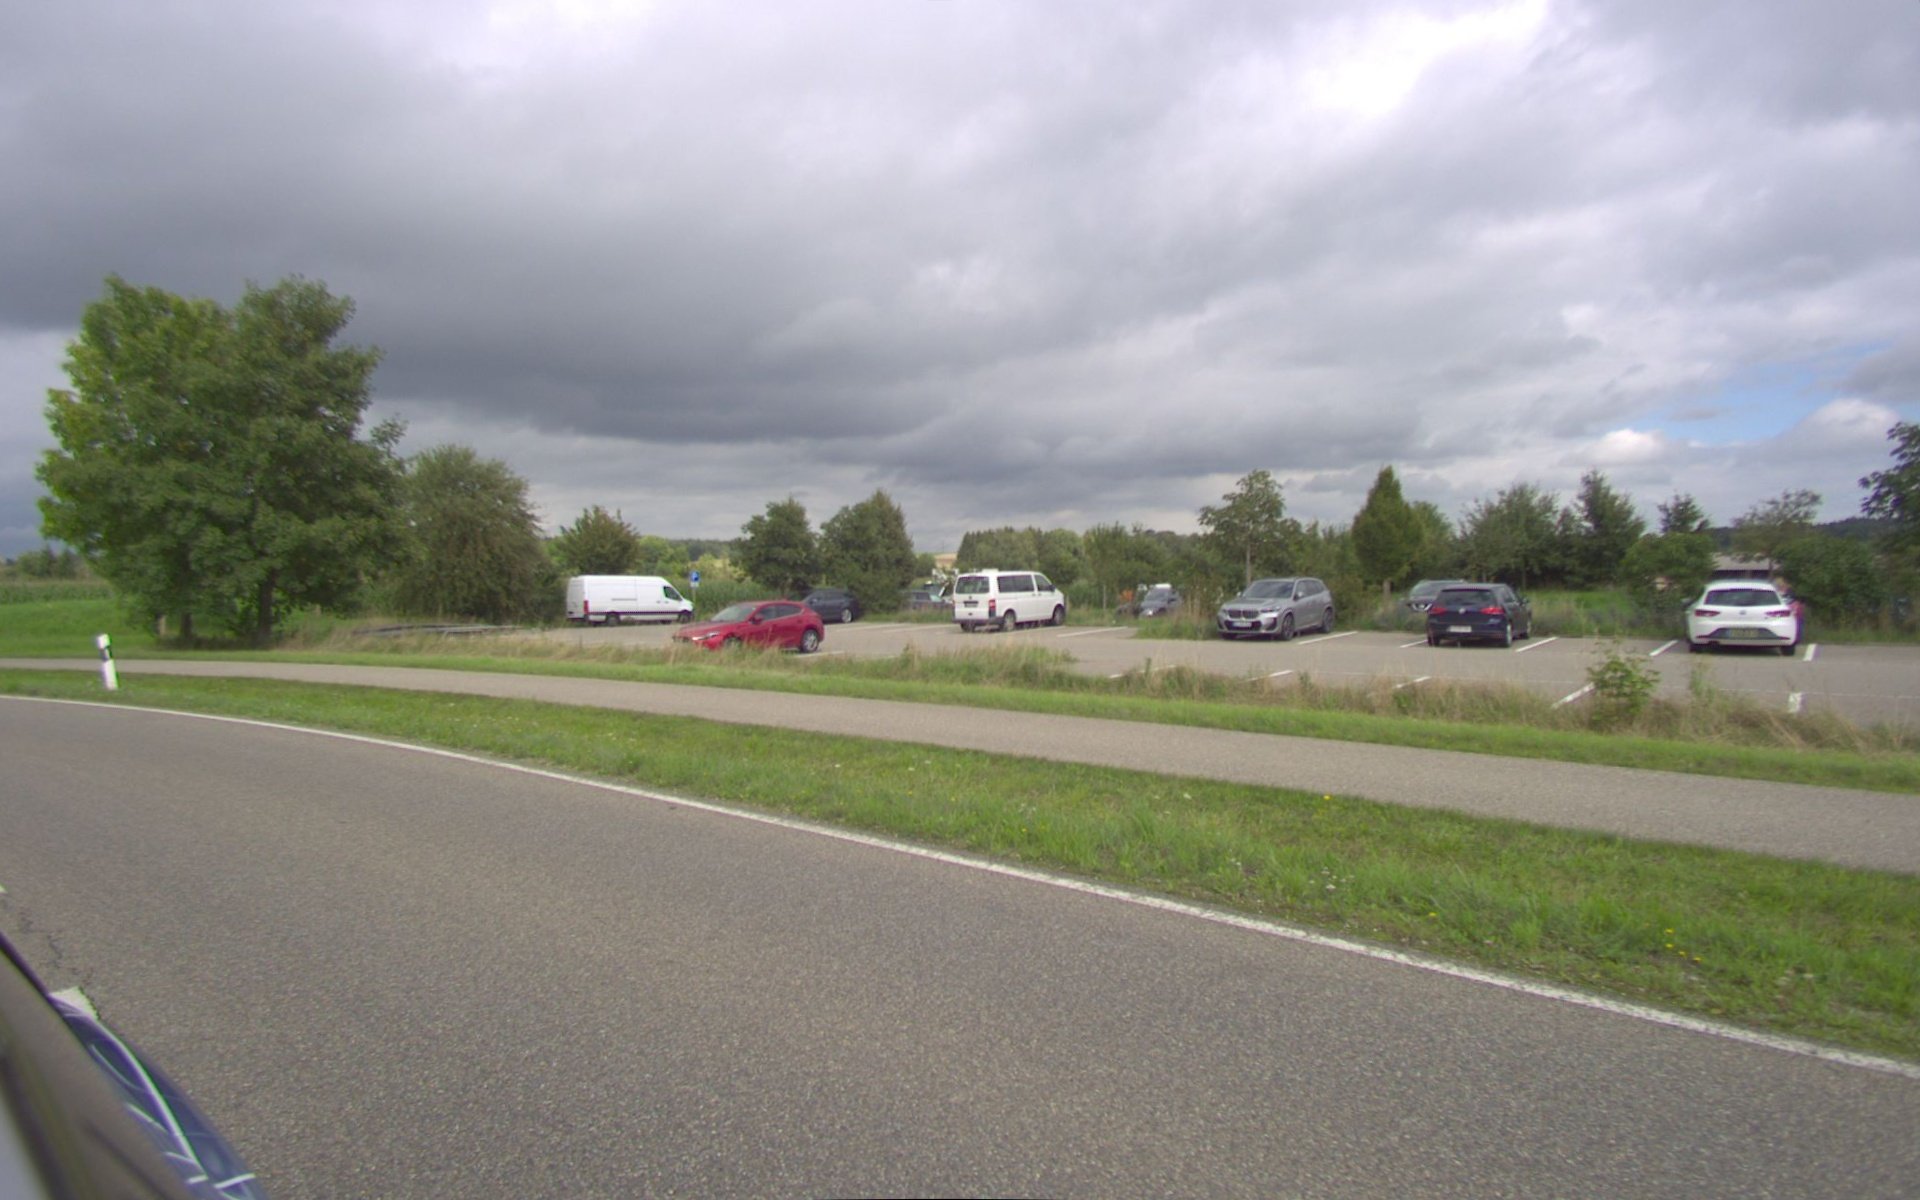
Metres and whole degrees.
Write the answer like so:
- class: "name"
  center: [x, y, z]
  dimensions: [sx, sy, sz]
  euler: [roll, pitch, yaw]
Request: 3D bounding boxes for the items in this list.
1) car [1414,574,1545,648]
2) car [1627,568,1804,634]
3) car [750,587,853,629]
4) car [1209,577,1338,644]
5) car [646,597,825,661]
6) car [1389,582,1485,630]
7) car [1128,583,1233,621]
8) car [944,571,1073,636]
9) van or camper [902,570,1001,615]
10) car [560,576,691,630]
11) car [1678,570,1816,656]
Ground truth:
- class: "car"
  center: [12.593, 0.212, 24.427]
  dimensions: [1.964, 1.563, 3.947]
  euler: [-1, 2, 40]
- class: "car"
  center: [19.201, 0.002, 25.753]
  dimensions: [3.729, 1.537, 1.782]
  euler: [-2, 1, -18]
- class: "car"
  center: [-6.385, 0.305, 41.030]
  dimensions: [1.792, 1.536, 3.949]
  euler: [-1, 1, 38]
- class: "car"
  center: [8.590, 0.233, 27.539]
  dimensions: [1.964, 1.563, 3.947]
  euler: [-1, 2, 40]
- class: "car"
  center: [-5.719, 0.698, 26.232]
  dimensions: [1.812, 1.427, 4.320]
  euler: [-1, 1, 40]
- class: "car"
  center: [14.421, 0.153, 30.507]
  dimensions: [1.775, 1.349, 3.745]
  euler: [-1, 1, 39]
- class: "car"
  center: [10.098, 0.092, 46.596]
  dimensions: [1.968, 1.635, 4.459]
  euler: [-2, 1, -39]
- class: "car"
  center: [1.735, 0.059, 34.537]
  dimensions: [2.059, 1.940, 4.636]
  euler: [-1, 2, 39]
- class: "van or camper"
  center: [-0.405, -0.463, 59.036]
  dimensions: [2.286, 2.364, 5.965]
  euler: [0, 2, 43]
- class: "car"
  center: [-17.400, 0.093, 52.989]
  dimensions: [2.200, 2.639, 6.251]
  euler: [-1, 1, 40]
- class: "car"
  center: [16.482, 0.206, 21.389]
  dimensions: [1.960, 1.563, 3.955]
  euler: [-1, 2, 33]
